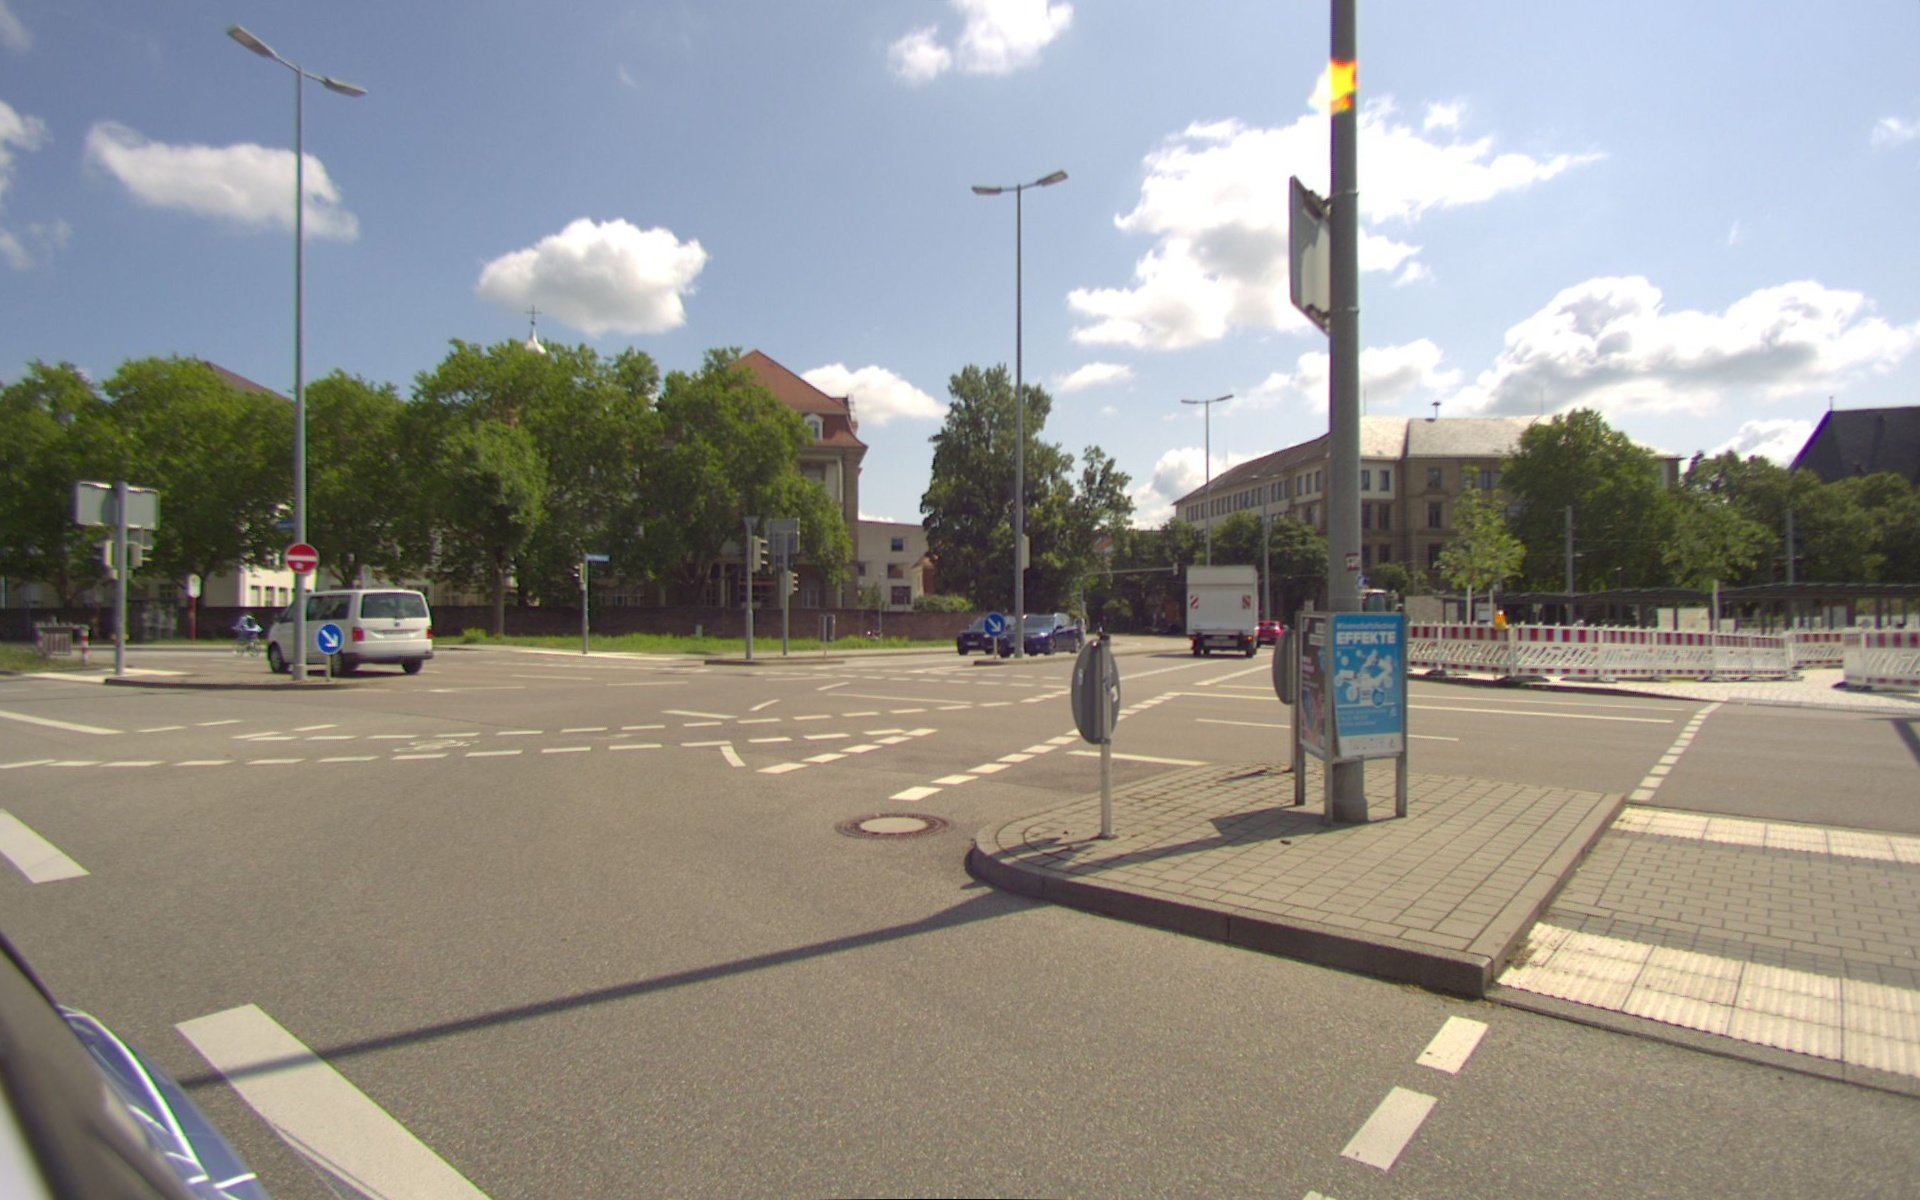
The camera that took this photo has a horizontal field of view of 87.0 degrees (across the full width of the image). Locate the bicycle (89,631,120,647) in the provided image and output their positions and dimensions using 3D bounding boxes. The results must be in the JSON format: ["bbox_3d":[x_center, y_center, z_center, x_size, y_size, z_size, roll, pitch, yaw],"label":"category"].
[{"bbox_3d":[-56.505,2.569,66.845,1.937,1.051,0.396,0,-2,11],"label":"bicycle"}]

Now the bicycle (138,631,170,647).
[{"bbox_3d":[-52.804,2.560,66.278,1.935,1.051,0.397,0,-2,8],"label":"bicycle"}]

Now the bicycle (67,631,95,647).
[{"bbox_3d":[-58.399,2.591,67.233,1.743,1.051,0.396,0,-2,12],"label":"bicycle"}]

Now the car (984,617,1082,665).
[{"bbox_3d":[2.536,1.359,34.080,1.987,1.497,4.633,-1,-2,22],"label":"car"}]

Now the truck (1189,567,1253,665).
[{"bbox_3d":[9.300,0.507,35.900,1.982,3.091,7.293,0,0,15],"label":"truck"}]

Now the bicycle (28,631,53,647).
[{"bbox_3d":[-61.832,2.611,68.037,1.568,1.051,0.396,0,-2,13],"label":"bicycle"}]

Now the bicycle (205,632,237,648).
[{"bbox_3d":[-47.770,2.584,65.404,1.935,1.051,0.397,0,-2,8],"label":"bicycle"}]

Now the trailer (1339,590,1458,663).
[{"bbox_3d":[18.499,1.062,42.935,1.965,2.935,4.380,0,0,-26],"label":"trailer"}]

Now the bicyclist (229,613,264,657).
[{"bbox_3d":[-26.550,1.304,37.664,0.839,1.631,0.770,-1,-2,30],"label":"bicyclist"}]

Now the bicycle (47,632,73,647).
[{"bbox_3d":[-60.159,2.641,67.636,1.744,1.011,0.396,0,-2,13],"label":"bicycle"}]

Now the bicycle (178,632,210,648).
[{"bbox_3d":[-49.758,2.595,65.716,1.935,1.051,0.397,0,-2,8],"label":"bicycle"}]

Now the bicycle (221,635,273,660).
[{"bbox_3d":[-26.521,1.770,37.634,2.100,0.896,0.770,-1,-2,30],"label":"bicycle"}]

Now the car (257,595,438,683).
[{"bbox_3d":[-14.607,0.911,24.048,4.857,1.909,1.865,-2,-2,35],"label":"car"}]

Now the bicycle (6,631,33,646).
[{"bbox_3d":[-63.608,2.597,68.448,1.744,1.051,0.396,0,-2,13],"label":"bicycle"}]

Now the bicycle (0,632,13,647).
[{"bbox_3d":[-65.169,2.684,68.824,1.402,1.051,0.376,0,-2,13],"label":"bicycle"}]

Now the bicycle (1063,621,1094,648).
[{"bbox_3d":[5.415,1.572,46.021,0.665,1.155,2.048,0,0,29],"label":"bicycle"}]

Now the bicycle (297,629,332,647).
[{"bbox_3d":[-41.435,2.436,64.948,2.012,1.146,0.397,0,-2,3],"label":"bicycle"}]

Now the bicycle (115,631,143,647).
[{"bbox_3d":[-54.667,2.560,66.559,1.621,1.051,0.397,0,-2,8],"label":"bicycle"}]

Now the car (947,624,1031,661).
[{"bbox_3d":[1.326,1.819,44.118,1.990,1.497,4.470,-1,-2,26],"label":"car"}]

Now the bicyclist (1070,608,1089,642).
[{"bbox_3d":[5.438,1.143,46.061,0.665,1.545,0.641,0,0,30],"label":"bicyclist"}]

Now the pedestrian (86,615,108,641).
[{"bbox_3d":[-55.648,1.807,65.247,0.770,1.623,0.723,0,-2,-2],"label":"pedestrian"}]
